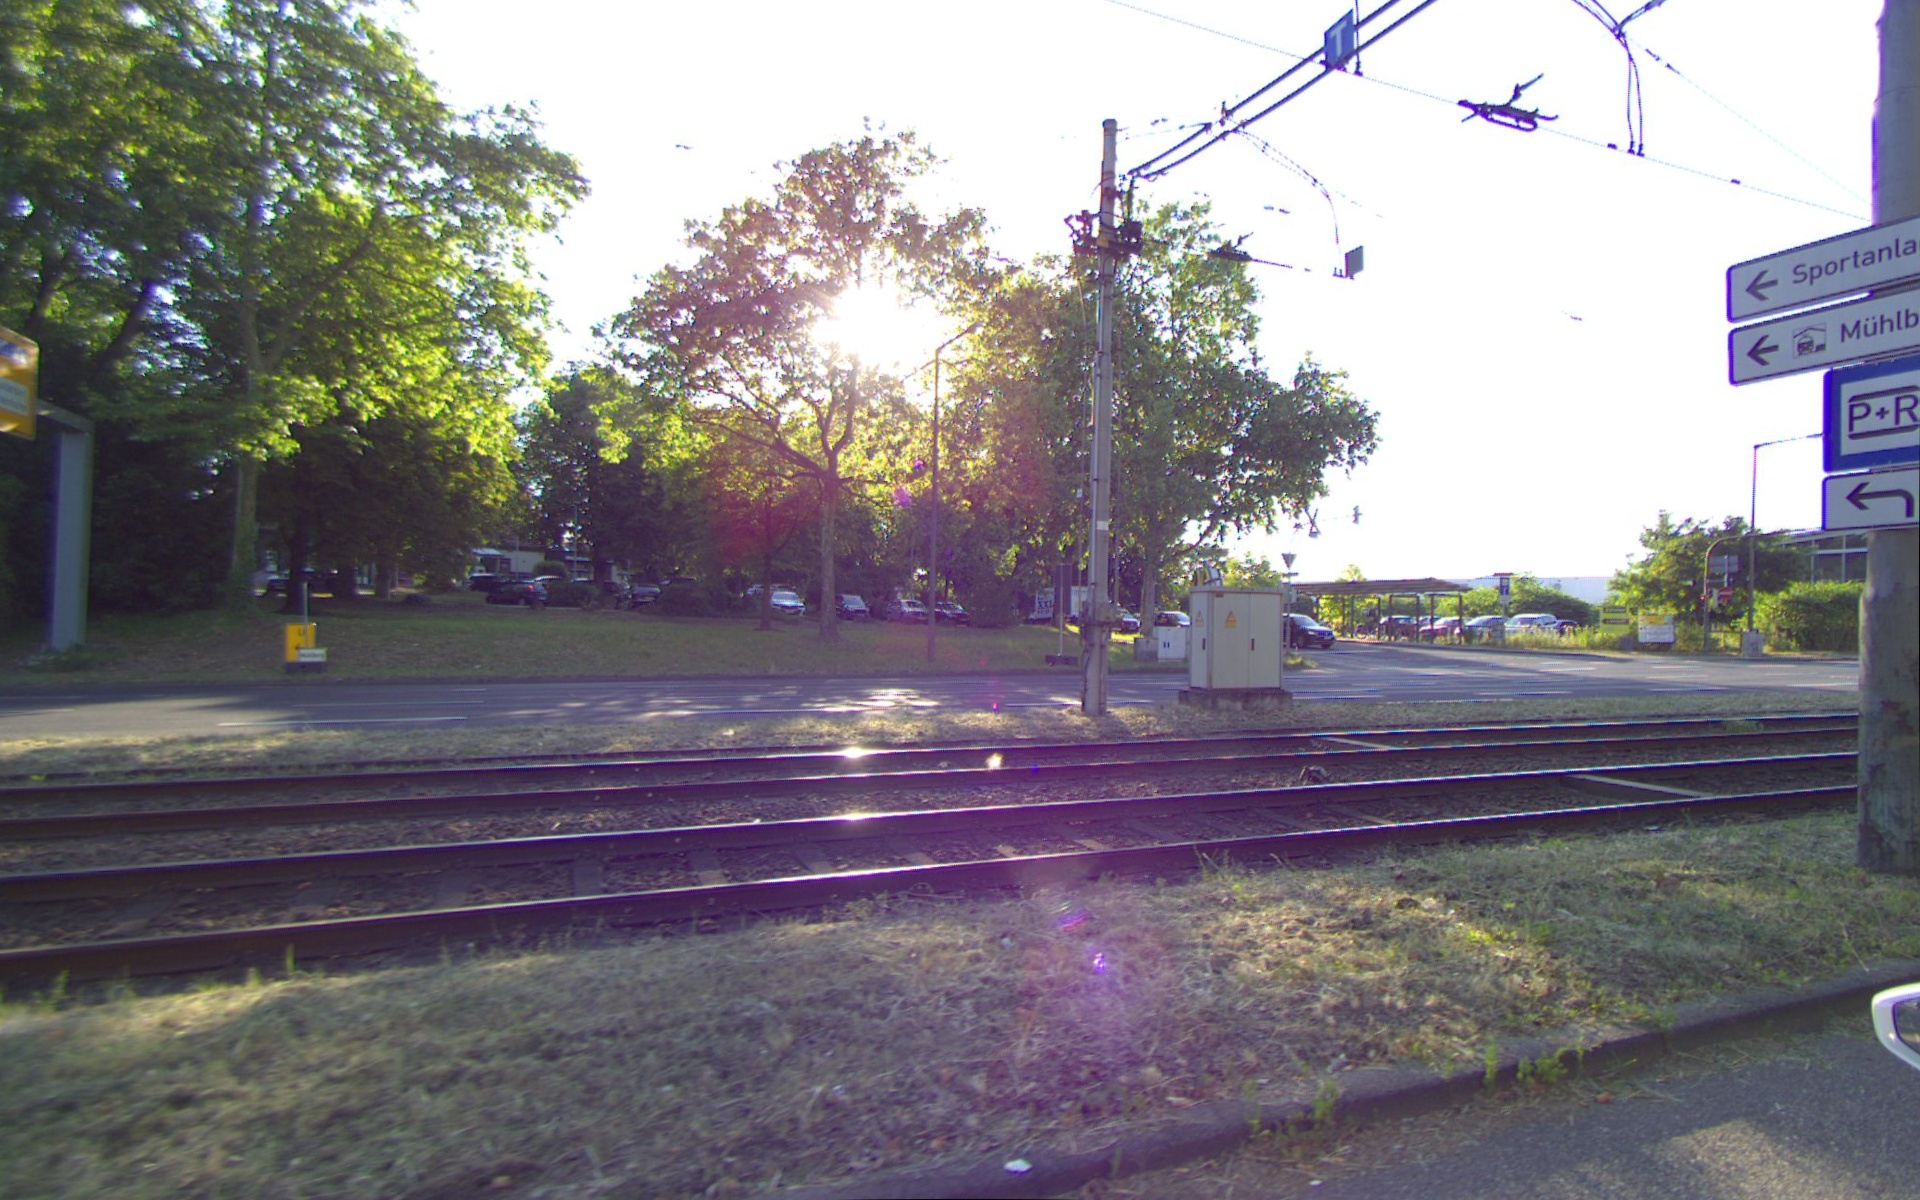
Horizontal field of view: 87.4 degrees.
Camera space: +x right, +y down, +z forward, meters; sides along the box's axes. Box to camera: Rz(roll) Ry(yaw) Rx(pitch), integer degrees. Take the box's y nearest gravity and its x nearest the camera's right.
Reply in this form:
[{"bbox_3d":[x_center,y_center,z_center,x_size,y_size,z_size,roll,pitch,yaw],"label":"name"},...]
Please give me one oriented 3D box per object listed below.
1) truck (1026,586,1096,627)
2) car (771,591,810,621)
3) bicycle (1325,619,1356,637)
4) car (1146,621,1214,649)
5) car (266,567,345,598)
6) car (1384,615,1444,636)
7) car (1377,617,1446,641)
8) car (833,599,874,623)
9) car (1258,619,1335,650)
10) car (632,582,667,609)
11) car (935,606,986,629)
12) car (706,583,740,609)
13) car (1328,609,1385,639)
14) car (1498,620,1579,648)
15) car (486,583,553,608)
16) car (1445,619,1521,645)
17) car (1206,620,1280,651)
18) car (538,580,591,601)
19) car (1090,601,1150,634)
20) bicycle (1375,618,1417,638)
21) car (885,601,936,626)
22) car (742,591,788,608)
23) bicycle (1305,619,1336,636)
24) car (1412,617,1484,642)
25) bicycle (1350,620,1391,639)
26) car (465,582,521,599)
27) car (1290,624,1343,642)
[{"bbox_3d":[8.726,0.529,87.996,2.693,3.433,8.276,1,0,-21],"label":"truck"},{"bbox_3d":[-9.427,0.330,55.659,1.829,1.550,3.989,1,0,-13],"label":"car"},{"bbox_3d":[23.678,1.745,62.503,2.168,1.079,0.662,1,0,-33],"label":"bicycle"},{"bbox_3d":[12.165,1.895,55.743,1.757,1.405,4.049,1,0,-21],"label":"car"},{"bbox_3d":[-30.672,-0.816,47.175,1.495,1.350,3.521,1,0,-2],"label":"car"},{"bbox_3d":[33.985,1.916,75.185,3.939,1.461,1.839,1,0,-20],"label":"car"},{"bbox_3d":[29.570,1.879,65.836,3.939,1.461,1.839,1,0,-20],"label":"car"},{"bbox_3d":[-7.275,0.726,68.462,1.894,1.550,3.982,1,0,-19],"label":"car"},{"bbox_3d":[17.161,1.730,51.358,1.755,1.405,4.055,1,0,-16],"label":"car"},{"bbox_3d":[-16.329,-0.246,52.791,1.502,1.350,3.504,1,0,-21],"label":"car"},{"bbox_3d":[-0.003,1.045,59.914,1.650,1.277,3.977,1,0,-23],"label":"car"},{"bbox_3d":[-12.982,-0.191,54.889,1.557,1.350,3.509,1,0,-17],"label":"car"},{"bbox_3d":[31.603,1.910,80.071,3.939,2.272,1.839,1,0,-20],"label":"car"},{"bbox_3d":[32.712,1.911,56.815,3.939,1.461,1.839,1,0,-20],"label":"car"},{"bbox_3d":[-25.029,-0.245,57.049,3.454,1.350,1.524,1,0,23],"label":"car"},{"bbox_3d":[31.066,1.918,59.682,3.939,1.461,1.839,1,0,-20],"label":"car"},{"bbox_3d":[14.192,1.748,50.583,1.755,1.405,4.055,1,0,-16],"label":"car"},{"bbox_3d":[-29.818,-0.688,75.711,3.484,1.480,1.354,1,0,-33],"label":"car"},{"bbox_3d":[9.719,1.068,61.403,1.969,1.884,3.983,1,-1,-19],"label":"car"},{"bbox_3d":[25.139,1.622,57.879,2.150,1.079,0.667,1,0,-5],"label":"bicycle"},{"bbox_3d":[-2.921,0.756,58.535,1.650,1.390,3.977,1,0,-23],"label":"car"},{"bbox_3d":[-15.206,-0.043,78.454,3.233,1.212,1.352,1,0,-37],"label":"car"},{"bbox_3d":[22.701,1.735,63.256,2.168,1.079,0.662,1,0,-33],"label":"bicycle"},{"bbox_3d":[30.603,1.851,63.049,3.939,1.461,1.839,1,0,-20],"label":"car"},{"bbox_3d":[24.805,1.762,60.694,2.148,1.079,0.668,1,0,8],"label":"bicycle"},{"bbox_3d":[-33.573,-0.662,72.263,3.484,1.135,1.354,1,0,-33],"label":"car"},{"bbox_3d":[29.967,2.781,84.362,3.939,1.461,1.839,1,0,-20],"label":"car"}]
